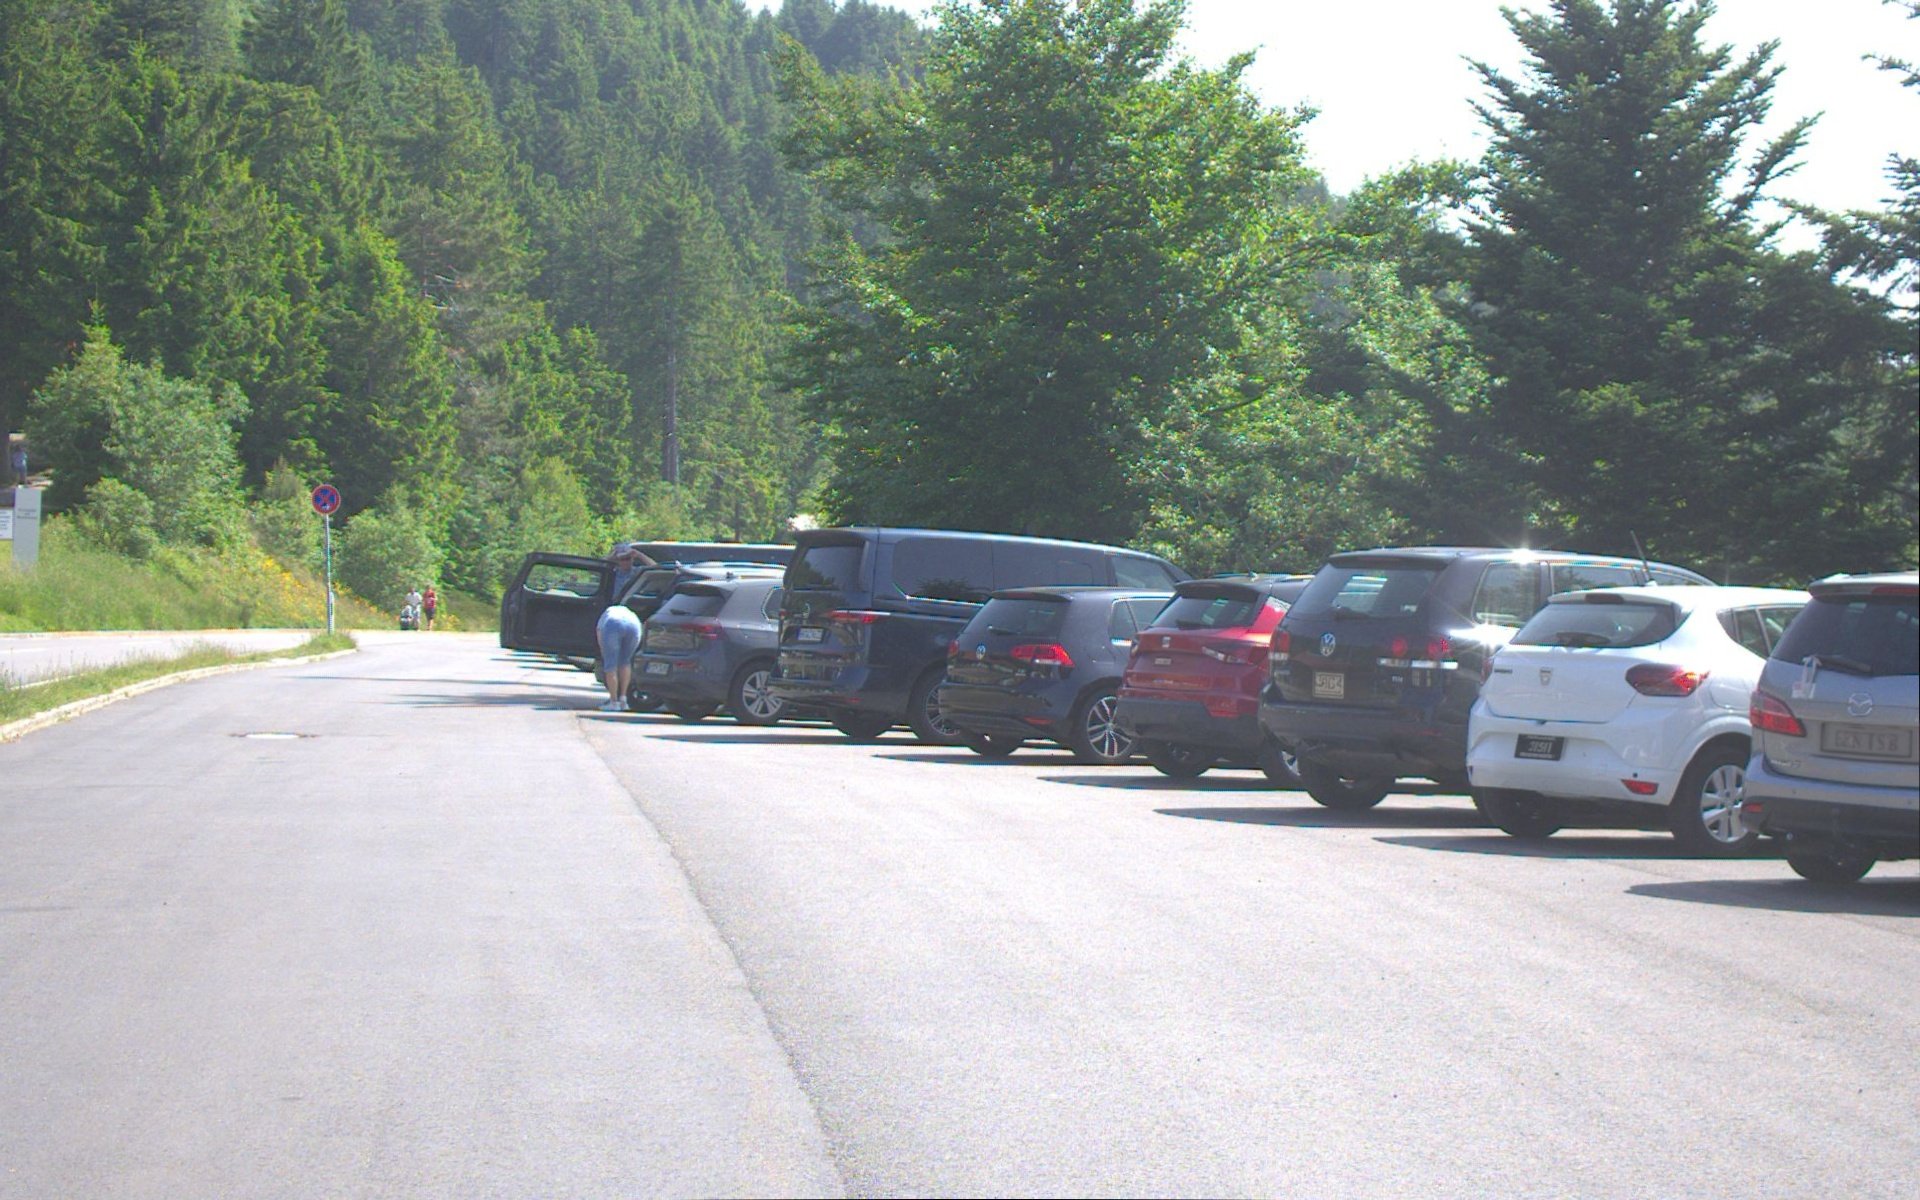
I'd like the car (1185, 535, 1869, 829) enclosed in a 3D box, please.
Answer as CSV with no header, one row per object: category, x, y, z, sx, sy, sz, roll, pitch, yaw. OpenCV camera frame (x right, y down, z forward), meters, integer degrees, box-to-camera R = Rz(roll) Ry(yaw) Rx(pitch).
car,3.741,0.539,22.330,4.260,1.689,1.990,3,0,-39

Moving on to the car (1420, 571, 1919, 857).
car,4.800,0.671,20.011,3.987,1.471,1.768,3,0,-35

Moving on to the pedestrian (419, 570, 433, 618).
pedestrian,-19.582,-0.215,126.068,0.395,1.741,0.406,1,1,4

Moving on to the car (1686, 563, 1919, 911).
car,5.585,0.691,17.271,3.989,1.543,1.819,3,0,-44

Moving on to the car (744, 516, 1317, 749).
car,0.652,0.300,31.271,4.756,1.873,1.967,3,0,-26

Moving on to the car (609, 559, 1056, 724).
car,-1.264,0.416,34.302,3.986,1.438,1.840,3,0,-28

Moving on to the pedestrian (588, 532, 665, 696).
pedestrian,-3.652,0.154,37.665,0.578,1.755,0.633,4,-1,-23

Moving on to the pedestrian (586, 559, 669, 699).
pedestrian,-3.422,0.294,35.434,0.773,1.398,0.669,-1,2,-1

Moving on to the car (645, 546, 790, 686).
car,-3.854,0.225,53.864,1.904,1.966,4.820,5,0,-7

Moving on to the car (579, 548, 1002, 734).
car,-1.808,0.446,37.075,3.987,1.656,2.000,5,-2,-34

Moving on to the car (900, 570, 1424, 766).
car,1.683,0.569,28.131,3.987,1.410,1.744,3,0,-34

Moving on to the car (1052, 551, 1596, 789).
car,2.783,0.534,25.716,3.989,1.584,1.863,3,0,-44

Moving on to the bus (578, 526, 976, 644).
bus,-6.076,-0.554,114.500,12.865,3.566,2.981,1,2,10

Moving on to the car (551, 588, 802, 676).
car,-5.459,0.616,66.164,4.452,1.294,1.583,5,0,-23
